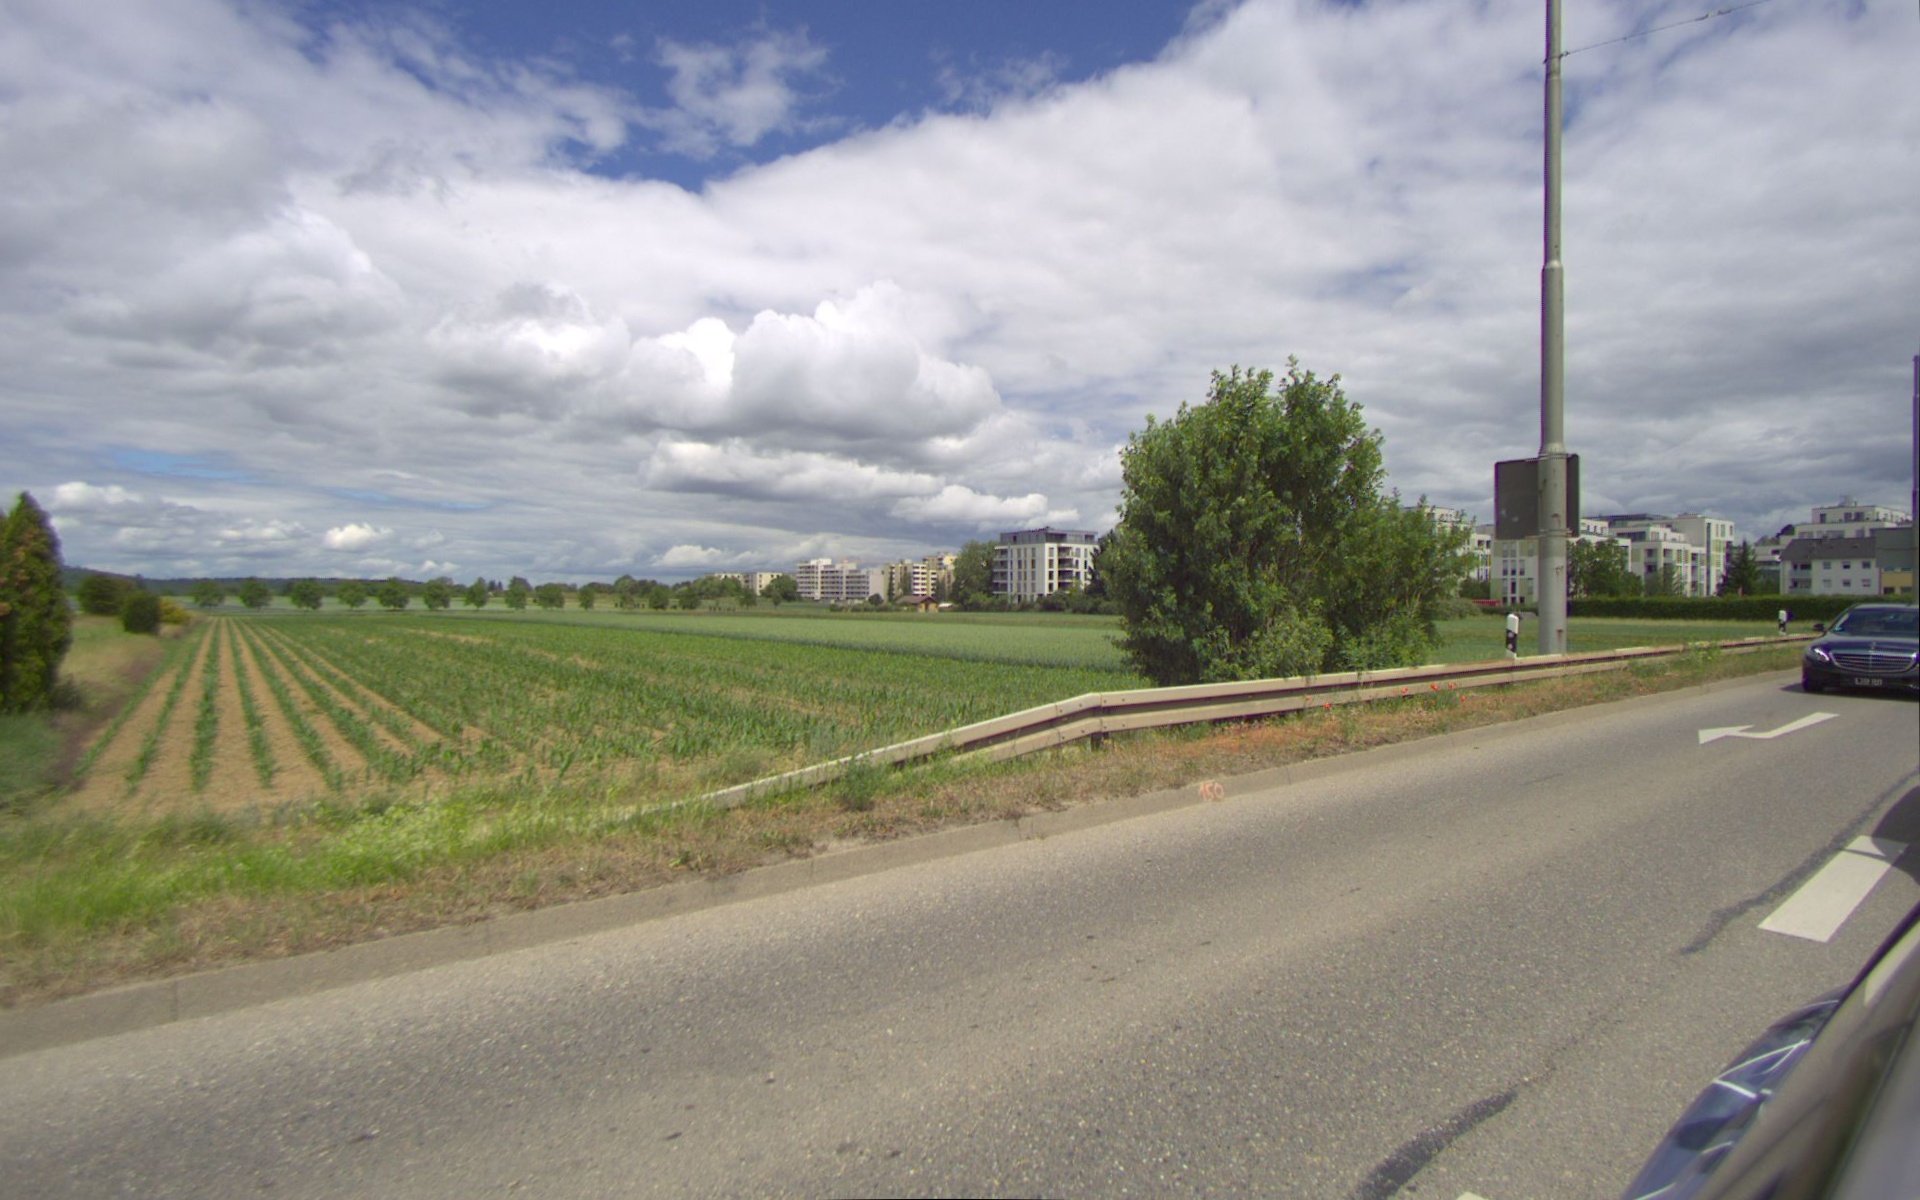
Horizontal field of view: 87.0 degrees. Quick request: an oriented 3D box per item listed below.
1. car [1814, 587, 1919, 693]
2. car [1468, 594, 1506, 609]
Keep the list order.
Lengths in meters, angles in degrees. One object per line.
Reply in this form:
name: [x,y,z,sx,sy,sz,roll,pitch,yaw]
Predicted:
car: [15.825,0.667,16.769,4.720,1.558,1.841,3,-1,-41]
car: [76.356,0.199,146.649,1.964,2.039,4.436,0,1,-39]
